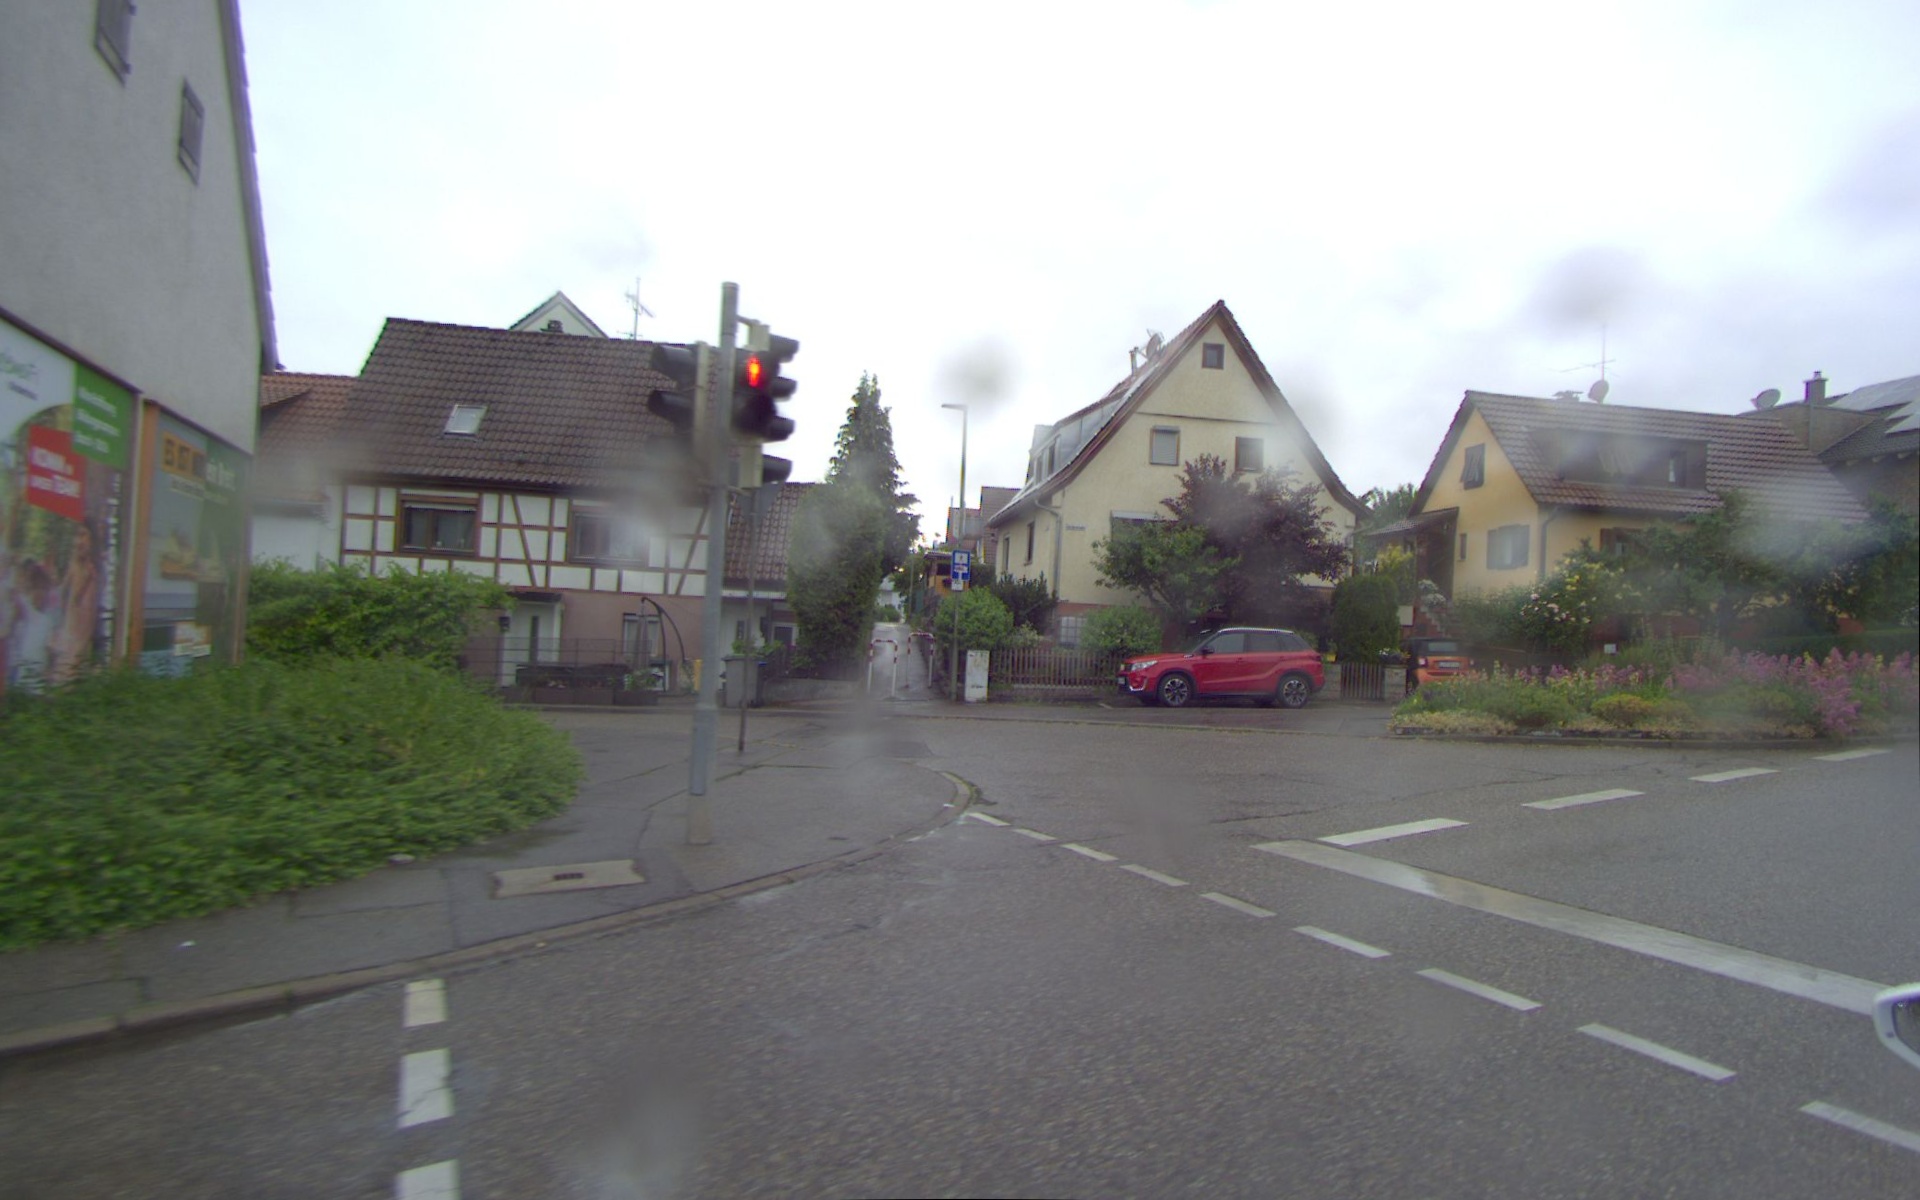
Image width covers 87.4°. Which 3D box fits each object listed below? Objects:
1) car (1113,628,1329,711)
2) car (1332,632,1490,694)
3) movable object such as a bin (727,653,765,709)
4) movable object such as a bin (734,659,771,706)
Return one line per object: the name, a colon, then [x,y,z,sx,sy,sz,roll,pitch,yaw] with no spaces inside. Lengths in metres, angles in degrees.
car: [5.310,1.392,20.698,3.944,1.582,1.753,0,-2,-8]
car: [11.293,1.533,25.480,1.829,1.402,3.995,0,-1,-8]
movable object such as a bin: [-4.209,1.588,19.787,0.638,1.059,0.579,0,-1,-3]
movable object such as a bin: [-4.238,1.679,20.571,0.638,0.899,0.704,0,-1,-3]
